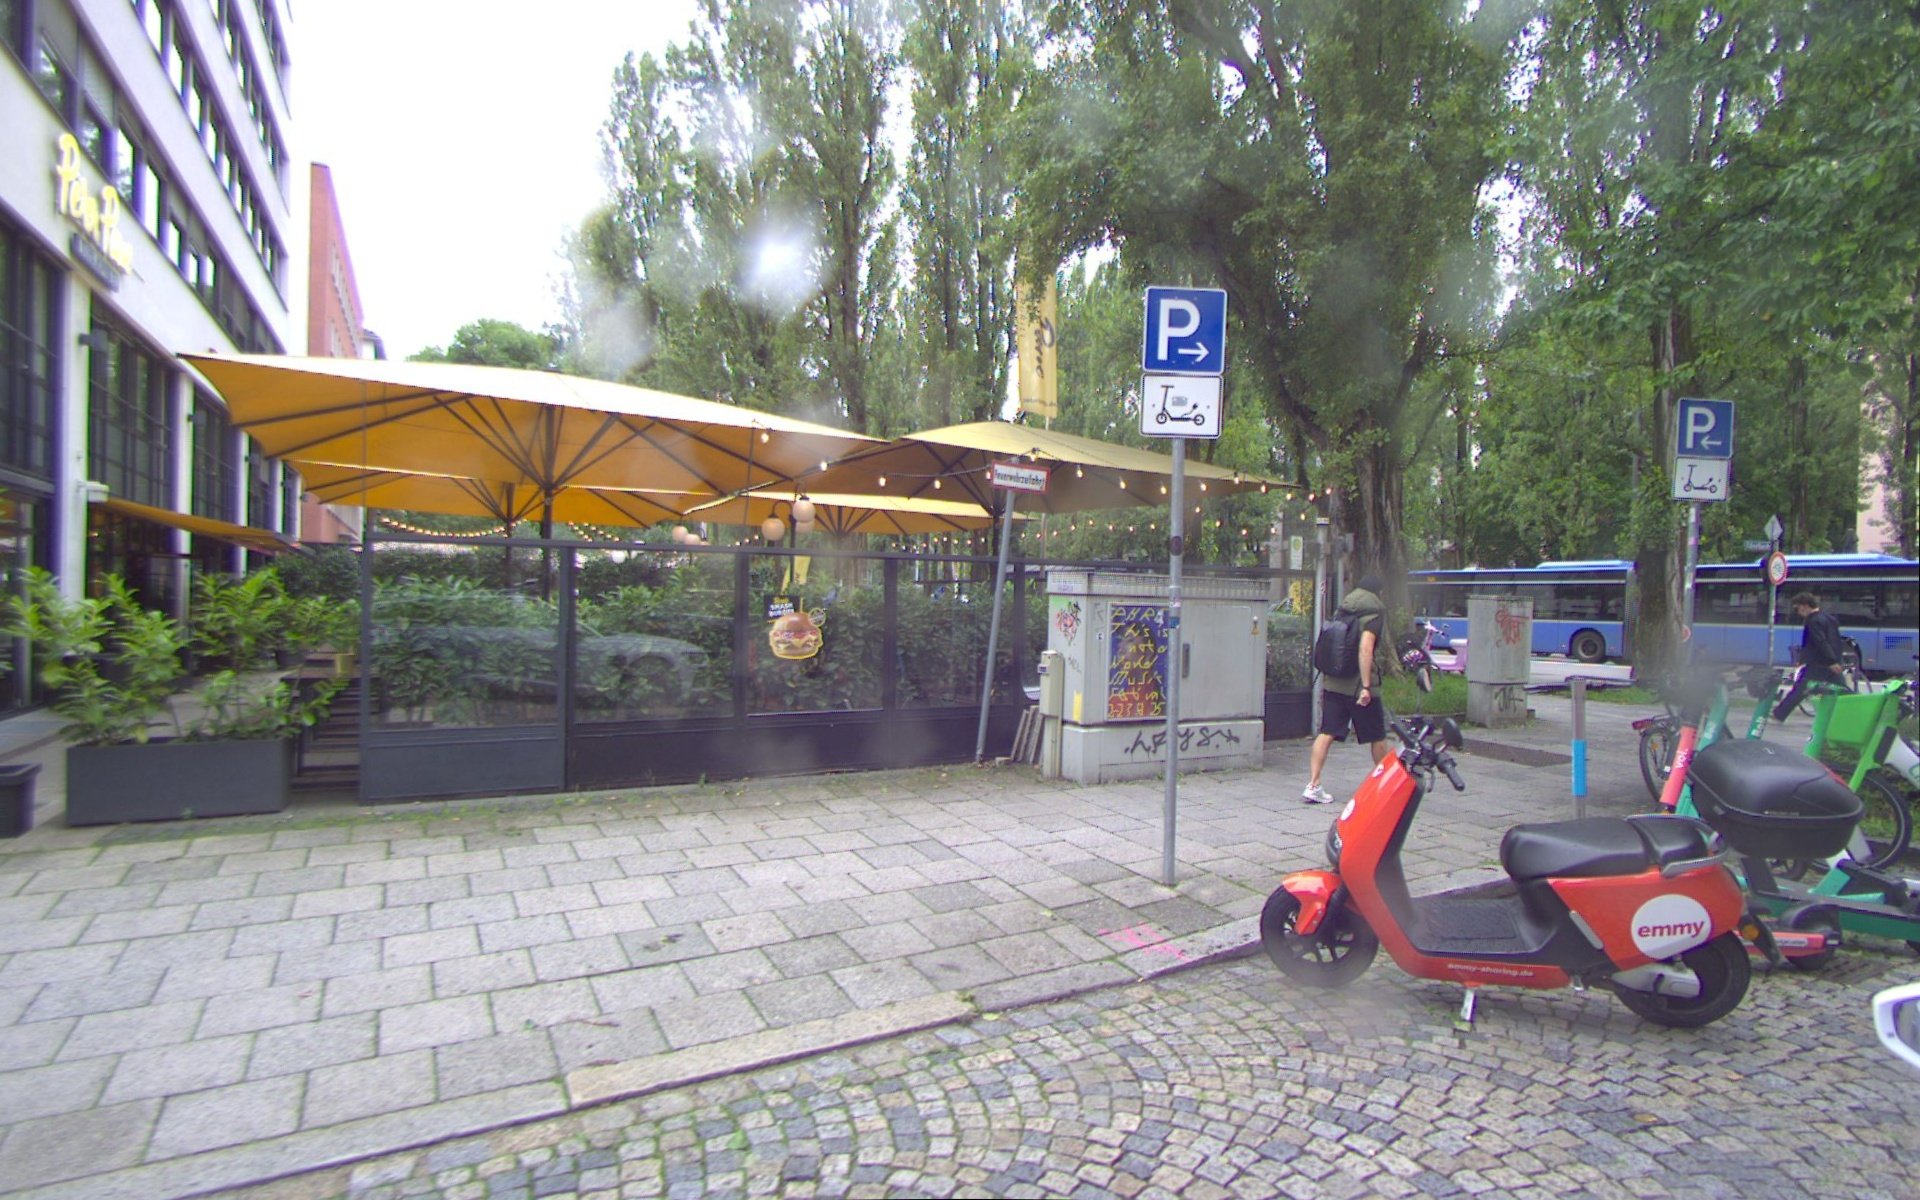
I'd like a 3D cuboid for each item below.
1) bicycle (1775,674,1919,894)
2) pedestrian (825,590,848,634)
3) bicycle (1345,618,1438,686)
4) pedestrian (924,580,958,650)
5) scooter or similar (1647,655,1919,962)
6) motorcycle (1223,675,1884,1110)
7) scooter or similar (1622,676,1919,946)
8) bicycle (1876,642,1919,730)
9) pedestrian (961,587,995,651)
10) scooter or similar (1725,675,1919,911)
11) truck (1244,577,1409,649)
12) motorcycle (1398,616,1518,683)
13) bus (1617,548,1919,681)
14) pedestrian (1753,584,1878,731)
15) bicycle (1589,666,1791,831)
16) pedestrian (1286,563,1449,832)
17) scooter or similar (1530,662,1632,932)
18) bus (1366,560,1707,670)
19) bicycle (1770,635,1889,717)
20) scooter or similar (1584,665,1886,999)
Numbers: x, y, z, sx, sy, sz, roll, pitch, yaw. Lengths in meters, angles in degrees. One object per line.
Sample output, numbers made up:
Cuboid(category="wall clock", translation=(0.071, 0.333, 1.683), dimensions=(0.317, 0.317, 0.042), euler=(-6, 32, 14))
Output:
Cuboid(category="bicycle", translation=(5.751, 1.060, 5.646), dimensions=(1.731, 1.158, 0.553), euler=(1, 0, 31))
Cuboid(category="pedestrian", translation=(-4.897, 0.467, 39.784), dimensions=(0.726, 1.715, 0.643), euler=(1, 0, -24))
Cuboid(category="bicycle", translation=(8.173, 0.962, 19.074), dimensions=(0.576, 1.204, 1.604), euler=(1, 0, -28))
Cuboid(category="pedestrian", translation=(-0.526, 0.411, 27.899), dimensions=(0.635, 1.933, 0.700), euler=(1, 0, 38))
Cuboid(category="scooter or similar", translation=(4.001, 0.938, 4.722), dimensions=(1.229, 1.290, 0.327), euler=(1, 0, 31))
Cuboid(category="motorcycle", translation=(2.025, 0.952, 3.764), dimensions=(1.951, 1.212, 0.771), euler=(1, 0, 18))
Cuboid(category="scooter or similar", translation=(4.251, 1.031, 5.306), dimensions=(0.323, 1.159, 1.242), euler=(1, 0, -28))
Cuboid(category="bicycle", translation=(13.122, 1.140, 13.545), dimensions=(1.679, 1.108, 0.489), euler=(1, 0, -24))
Cuboid(category="pedestrian", translation=(0.509, 0.529, 28.121), dimensions=(0.635, 1.750, 0.700), euler=(1, 0, 38))
Cuboid(category="scooter or similar", translation=(5.021, 1.036, 5.414), dimensions=(1.408, 1.159, 0.368), euler=(1, 0, 38))
Cuboid(category="truck", translation=(16.126, 0.537, 44.776), dimensions=(2.568, 2.946, 7.031), euler=(1, 0, -27))
Cuboid(category="motorcycle", translation=(9.449, 0.925, 19.135), dimensions=(1.951, 1.212, 0.629), euler=(1, 0, 18))
Cuboid(category="bus", translation=(22.340, 0.363, 26.150), dimensions=(2.891, 3.092, 8.455), euler=(1, 0, -28))
Cuboid(category="pedestrian", translation=(10.620, 0.687, 12.482), dimensions=(0.848, 1.734, 0.951), euler=(1, -1, -30))
Cuboid(category="bicycle", translation=(5.382, 1.034, 7.375), dimensions=(1.742, 1.036, 0.549), euler=(1, 0, -31))
Cuboid(category="pedestrian", translation=(2.917, 0.651, 7.222), dimensions=(0.697, 1.796, 0.746), euler=(1, 2, -29))
Cuboid(category="scooter or similar", translation=(3.270, 0.963, 5.342), dimensions=(0.383, 1.195, 1.249), euler=(1, 0, 29))
Cuboid(category="bus", translation=(18.503, 0.442, 33.284), dimensions=(2.891, 3.092, 9.721), euler=(1, 0, -29))
Cuboid(category="bicycle", translation=(12.529, 1.078, 14.463), dimensions=(1.956, 1.108, 0.489), euler=(1, 0, -24))
Cuboid(category="scooter or similar", translation=(3.337, 0.935, 4.313), dimensions=(1.336, 1.290, 0.326), euler=(1, 0, -19))
